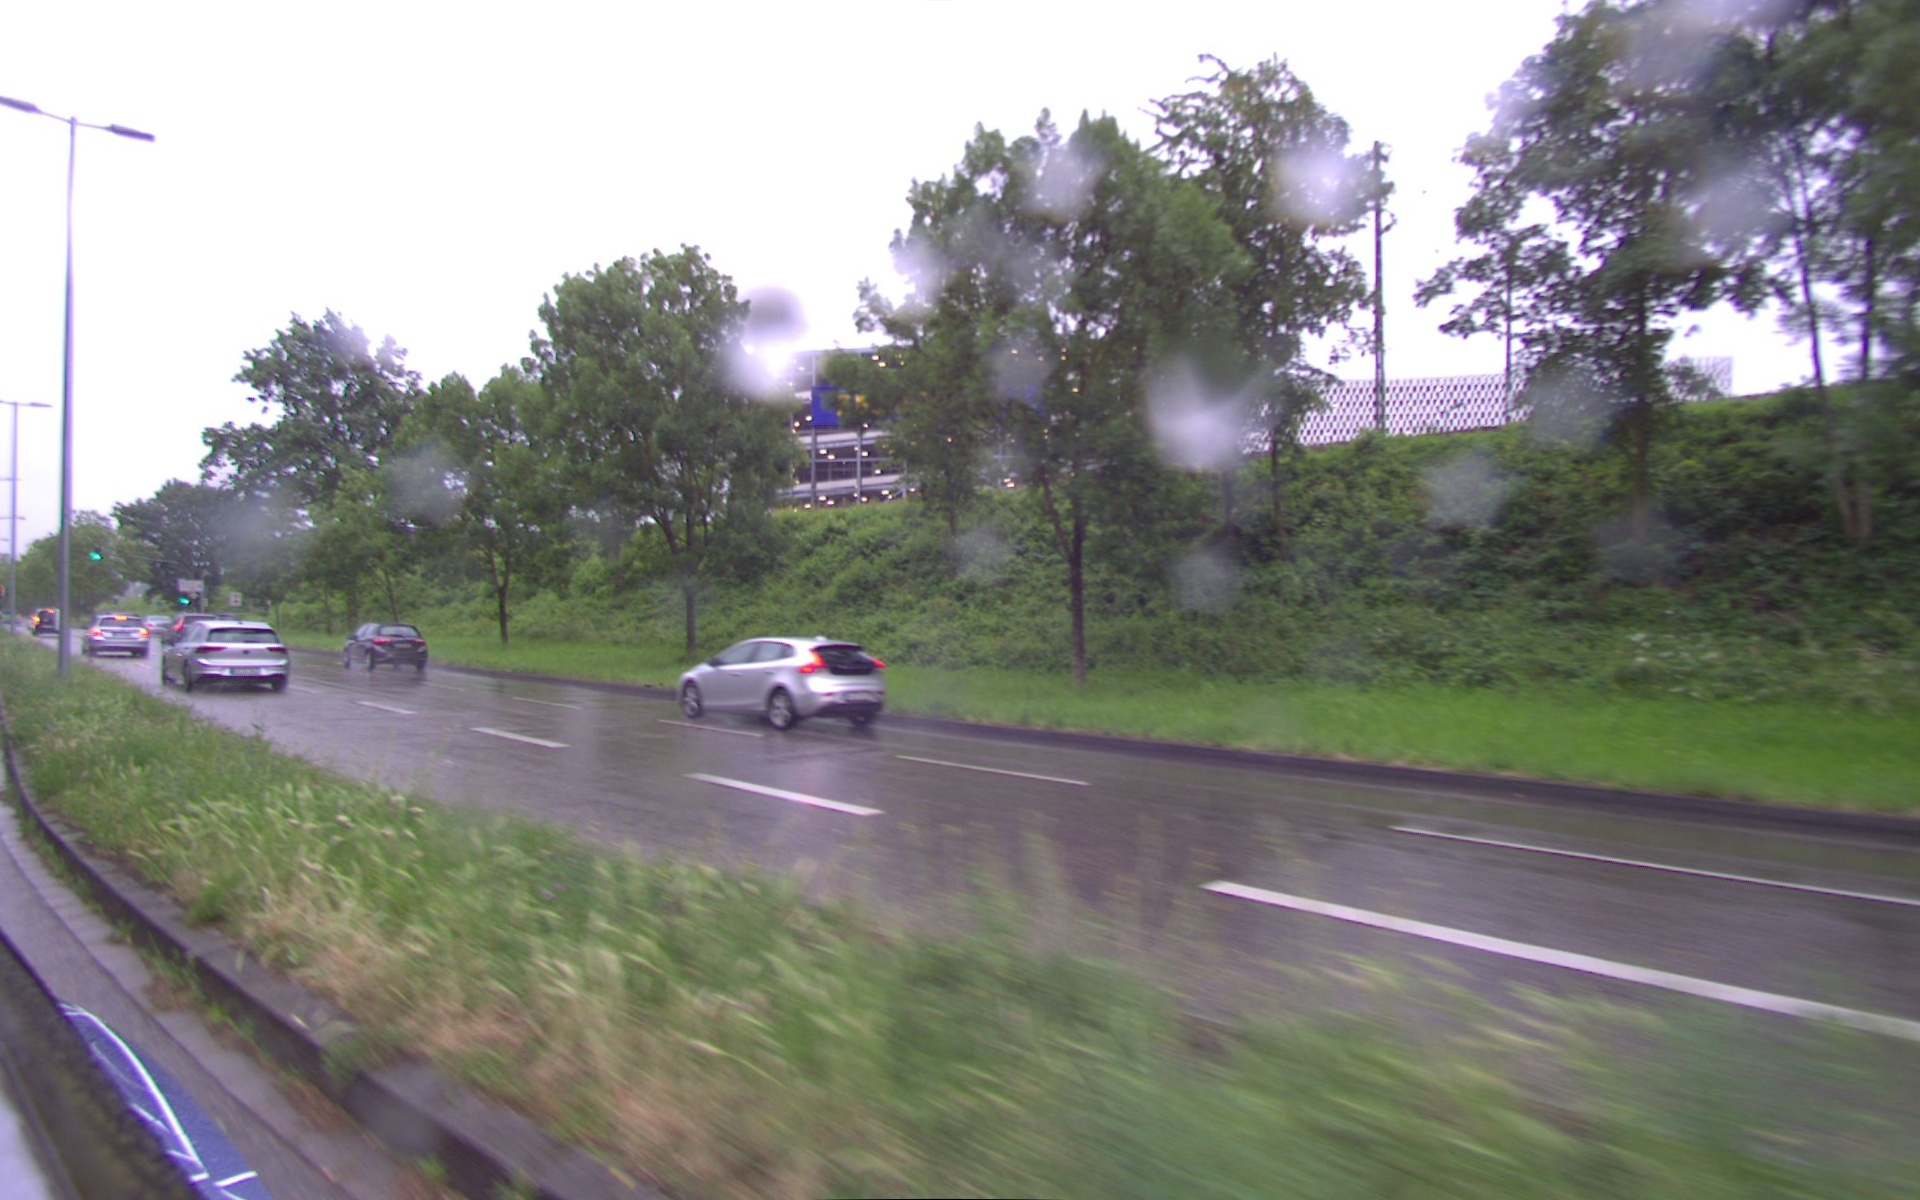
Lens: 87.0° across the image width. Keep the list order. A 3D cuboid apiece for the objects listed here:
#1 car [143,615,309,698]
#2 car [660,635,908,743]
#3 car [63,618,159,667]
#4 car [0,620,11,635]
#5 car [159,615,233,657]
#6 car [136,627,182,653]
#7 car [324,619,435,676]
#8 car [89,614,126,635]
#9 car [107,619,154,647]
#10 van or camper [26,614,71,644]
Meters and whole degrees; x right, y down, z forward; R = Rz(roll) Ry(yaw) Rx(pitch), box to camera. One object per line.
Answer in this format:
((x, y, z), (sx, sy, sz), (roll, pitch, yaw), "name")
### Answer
((-15.809, 1.176, 21.690), (4.707, 1.586, 1.888), (-1, -4, 42), "car")
((-3.010, 1.359, 16.636), (1.814, 1.513, 4.443), (4, -4, -44), "car")
((-30.559, 1.510, 36.392), (4.109, 1.625, 1.879), (-1, -5, 41), "car")
((-106.664, 3.059, 112.461), (1.755, 1.573, 3.776), (0, -1, -44), "car")
((-33.694, 1.592, 44.571), (1.970, 1.700, 4.712), (4, -4, -44), "car")
((-55.544, 2.732, 70.155), (1.970, 1.700, 4.712), (4, -4, -44), "car")
((-18.848, 1.517, 32.761), (1.970, 1.700, 4.712), (4, -4, -44), "car")
((-70.823, 2.039, 84.051), (4.714, 1.625, 1.876), (-1, -4, 45), "car")
((-51.672, 2.040, 62.999), (1.876, 1.625, 4.115), (5, -4, -43), "car")
((-57.071, 1.805, 63.349), (4.001, 1.755, 1.709), (-1, -4, 44), "van or camper")
